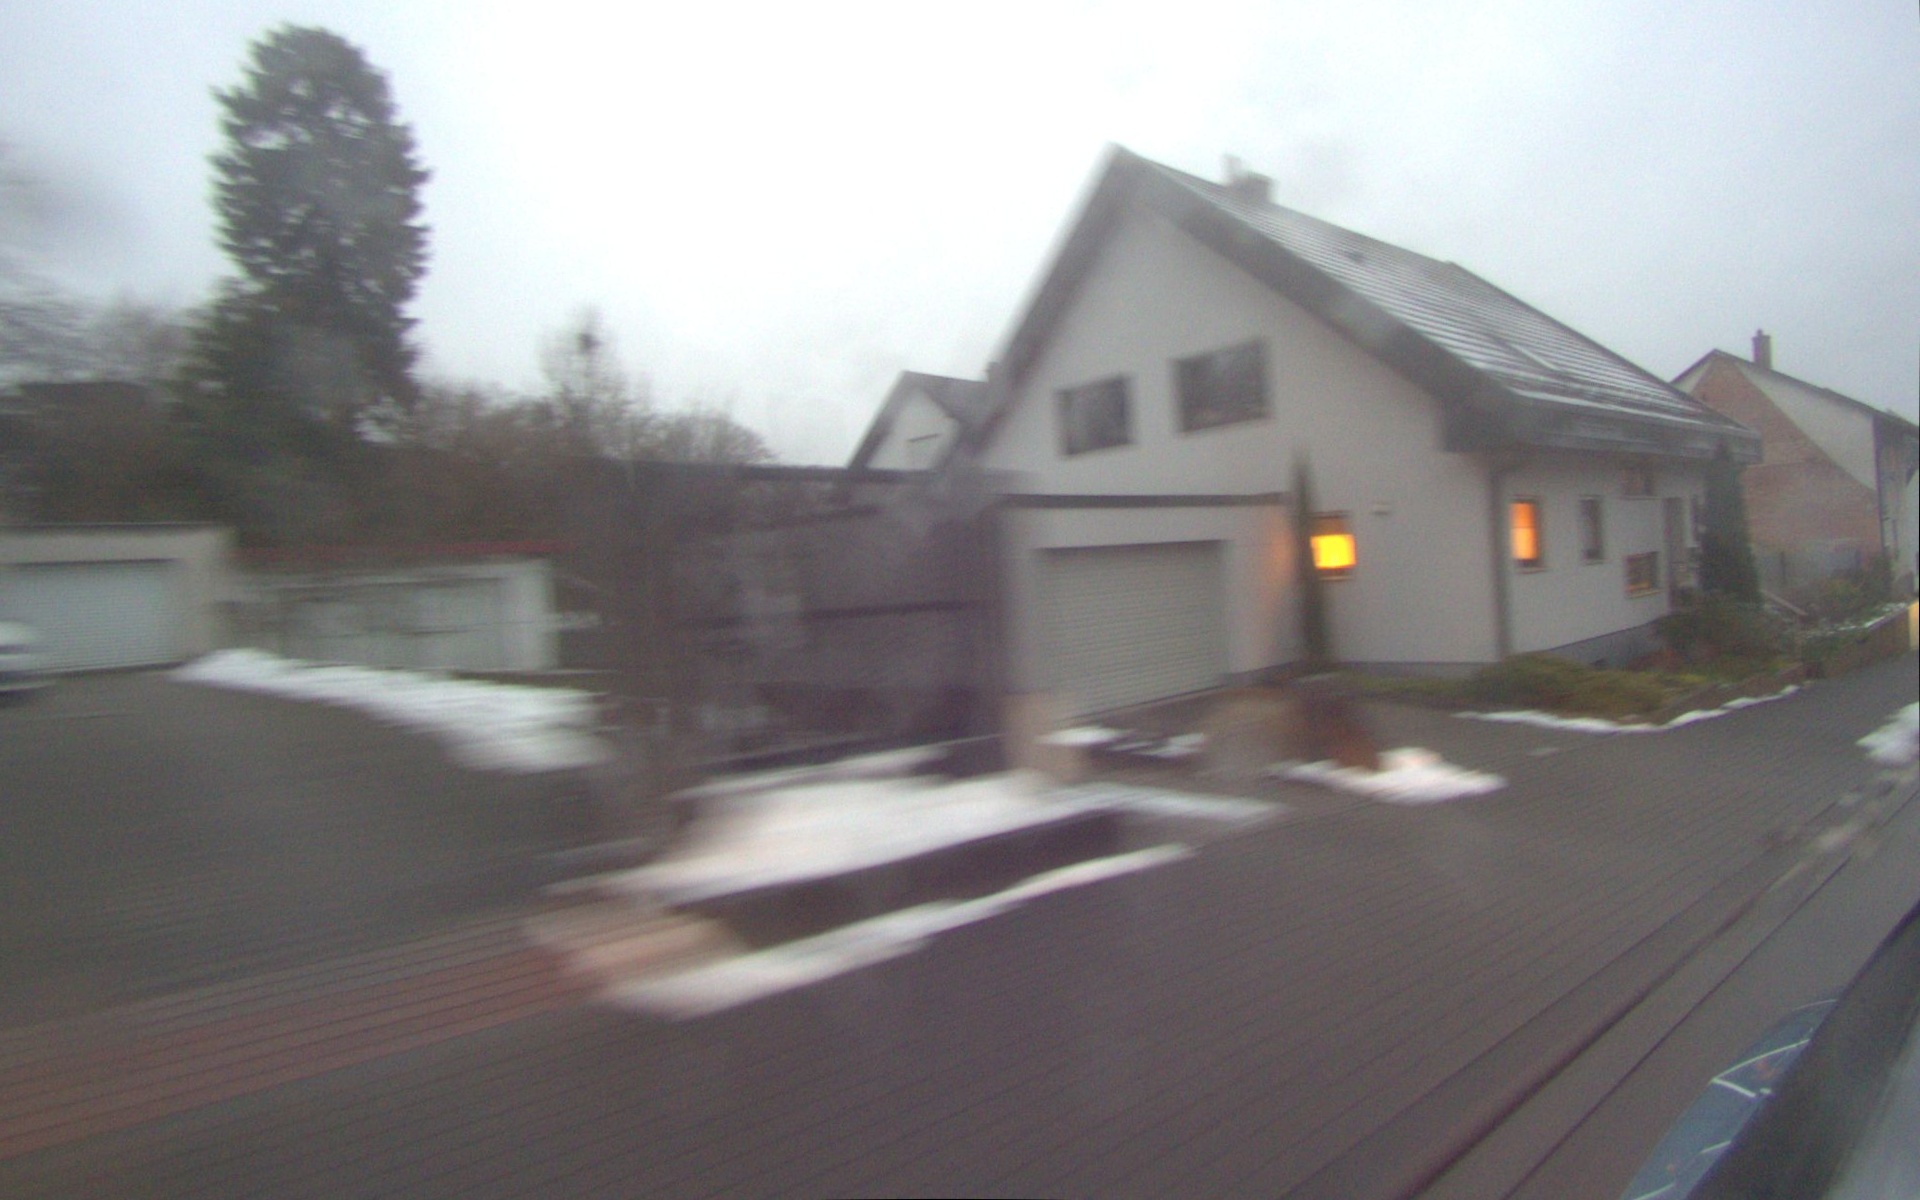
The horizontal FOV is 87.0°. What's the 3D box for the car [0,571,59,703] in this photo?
[{"bbox_3d":[-12.300,0.476,11.542,3.960,1.424,1.720,-3,-1,27],"label":"car"}]
